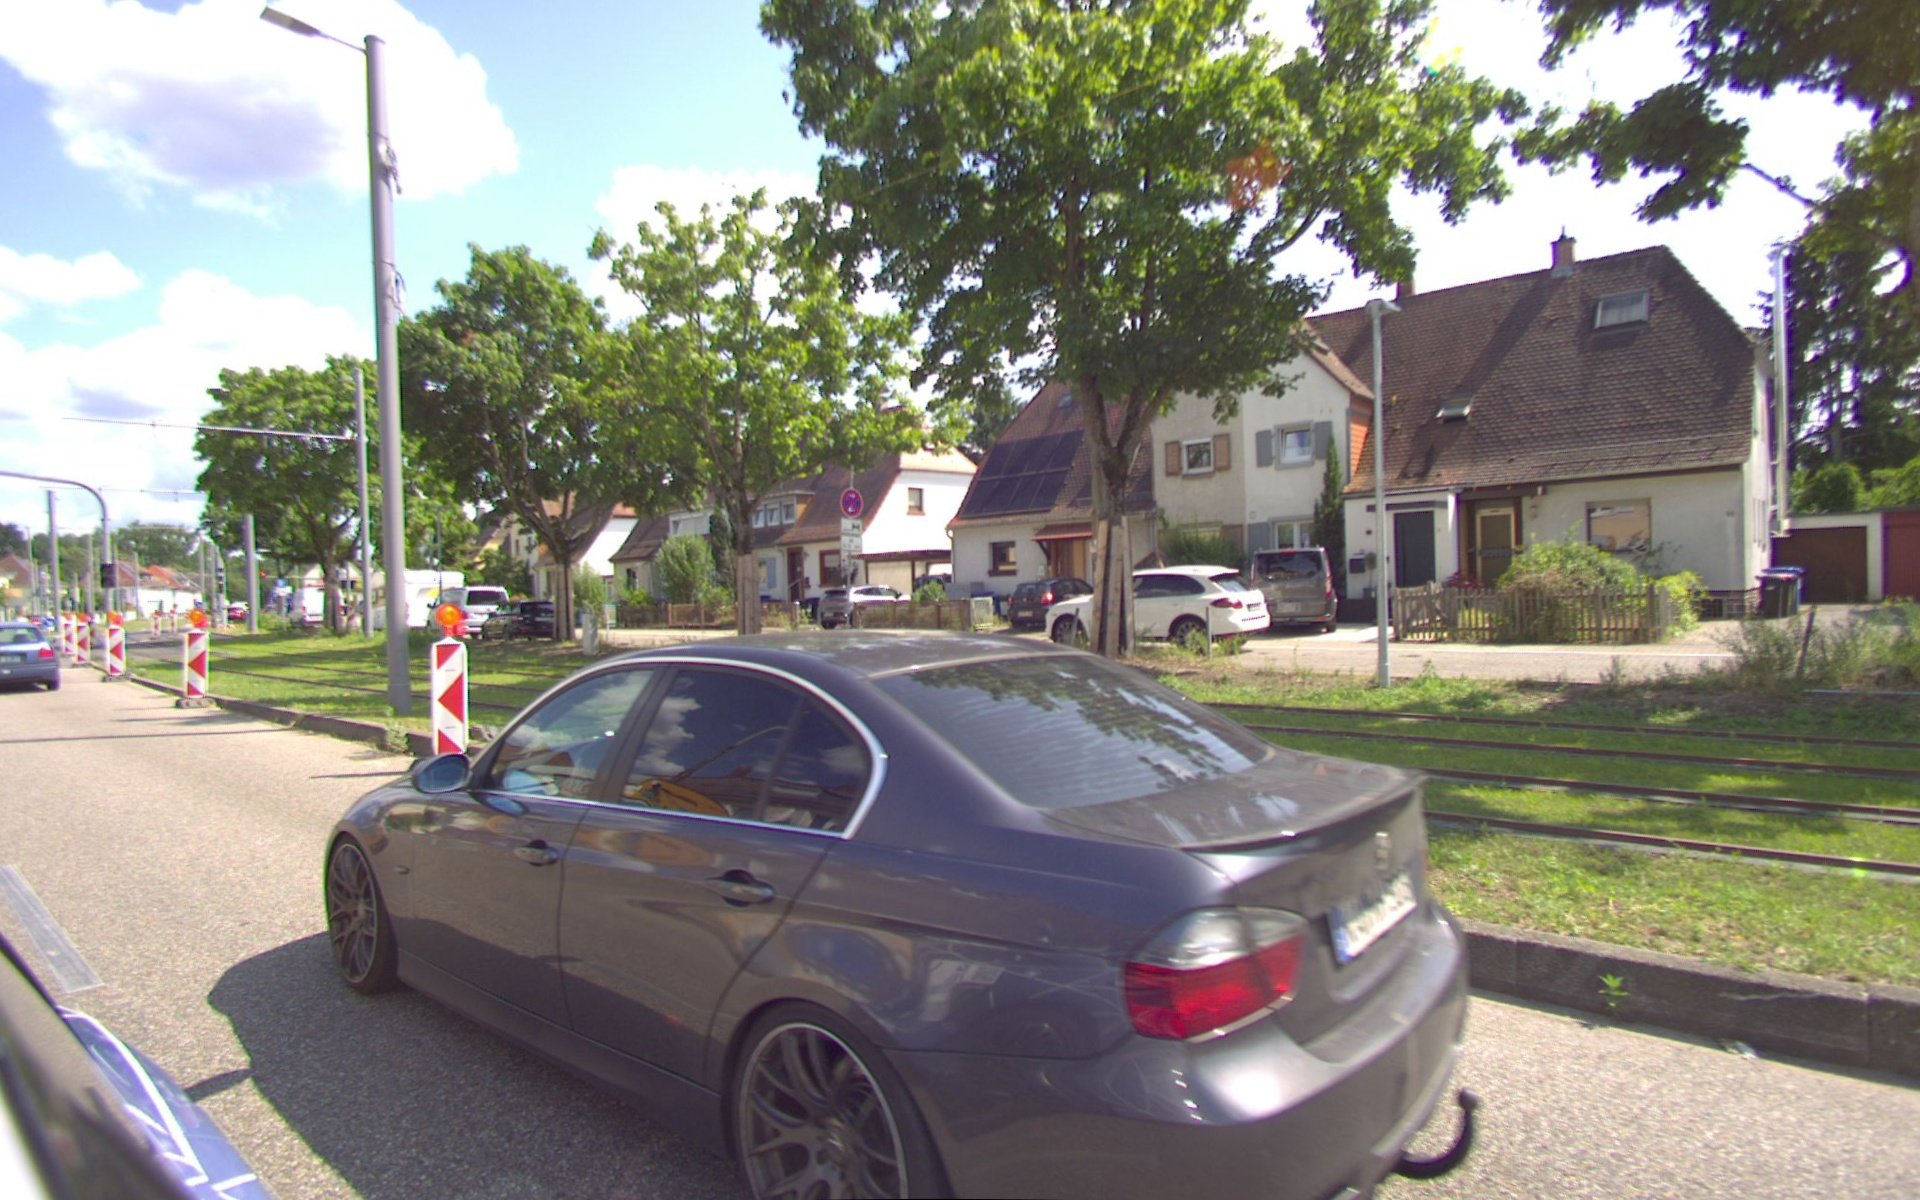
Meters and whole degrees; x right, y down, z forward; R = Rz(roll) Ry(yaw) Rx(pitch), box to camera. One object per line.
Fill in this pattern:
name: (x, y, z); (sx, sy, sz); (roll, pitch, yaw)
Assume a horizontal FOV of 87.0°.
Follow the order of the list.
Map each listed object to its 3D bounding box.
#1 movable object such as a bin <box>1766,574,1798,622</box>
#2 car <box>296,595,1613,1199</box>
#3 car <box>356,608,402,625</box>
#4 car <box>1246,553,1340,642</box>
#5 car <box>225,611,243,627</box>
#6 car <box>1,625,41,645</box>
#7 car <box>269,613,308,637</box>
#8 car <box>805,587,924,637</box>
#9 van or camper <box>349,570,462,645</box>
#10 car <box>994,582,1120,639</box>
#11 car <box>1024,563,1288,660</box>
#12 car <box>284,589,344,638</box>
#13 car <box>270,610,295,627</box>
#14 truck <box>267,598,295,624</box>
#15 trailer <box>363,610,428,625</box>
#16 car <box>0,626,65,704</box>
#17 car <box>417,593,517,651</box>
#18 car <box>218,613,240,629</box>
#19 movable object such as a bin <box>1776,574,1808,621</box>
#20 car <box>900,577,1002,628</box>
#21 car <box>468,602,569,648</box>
movable object such as a bin: (17.357, -0.047, 21.367); (0.499, 0.984, 0.447); (-2, 0, 41)
car: (-0.424, 0.748, 3.292); (4.117, 1.399, 1.708); (-1, 1, 39)
car: (-59.861, 1.682, 104.260); (3.829, 1.567, 1.685); (-2, 1, -39)
car: (8.113, -0.122, 24.456); (1.929, 1.910, 3.870); (-2, 2, 21)
car: (-89.872, 2.350, 125.356); (1.702, 1.868, 4.553); (-2, 1, -35)
car: (-78.491, 2.902, 84.681); (1.850, 1.564, 4.996); (-2, 1, -36)
car: (-44.485, 1.644, 67.007); (1.671, 1.476, 4.763); (-2, 1, -39)
car: (-3.312, 0.390, 35.581); (1.872, 1.541, 3.947); (-2, 1, 40)
van or camper: (-24.074, 0.340, 43.765); (2.348, 2.992, 7.301); (-2, 0, -44)
car: (2.881, 0.279, 29.451); (1.734, 1.468, 3.844); (-2, 1, 40)
car: (3.923, 0.232, 20.914); (5.079, 1.781, 1.862); (-1, 1, 40)
car: (-37.286, 0.763, 58.395); (2.127, 2.688, 4.922); (-2, 1, -41)
car: (-66.958, 1.794, 100.094); (1.701, 1.538, 4.785); (-2, 1, -30)
truck: (-86.903, 1.371, 129.611); (2.797, 3.177, 7.956); (-2, 1, -33)
trailer: (-51.430, 1.582, 92.250); (4.858, 1.133, 1.964); (-2, 1, -39)
car: (-19.479, 1.262, 20.333); (3.956, 1.460, 1.648); (-2, -2, 40)
car: (-18.974, 0.812, 38.811); (1.970, 2.029, 4.907); (-2, 1, -44)
car: (-77.122, 2.231, 106.809); (1.702, 1.574, 4.553); (-2, 1, -34)
movable object such as a bin: (17.777, -0.060, 21.633); (0.499, 0.984, 0.447); (-2, 0, 41)
car: (-0.301, 0.065, 39.262); (1.798, 1.750, 3.947); (-2, 1, 40)
car: (-15.117, 0.835, 34.490); (1.829, 1.397, 4.816); (-2, 1, -40)
